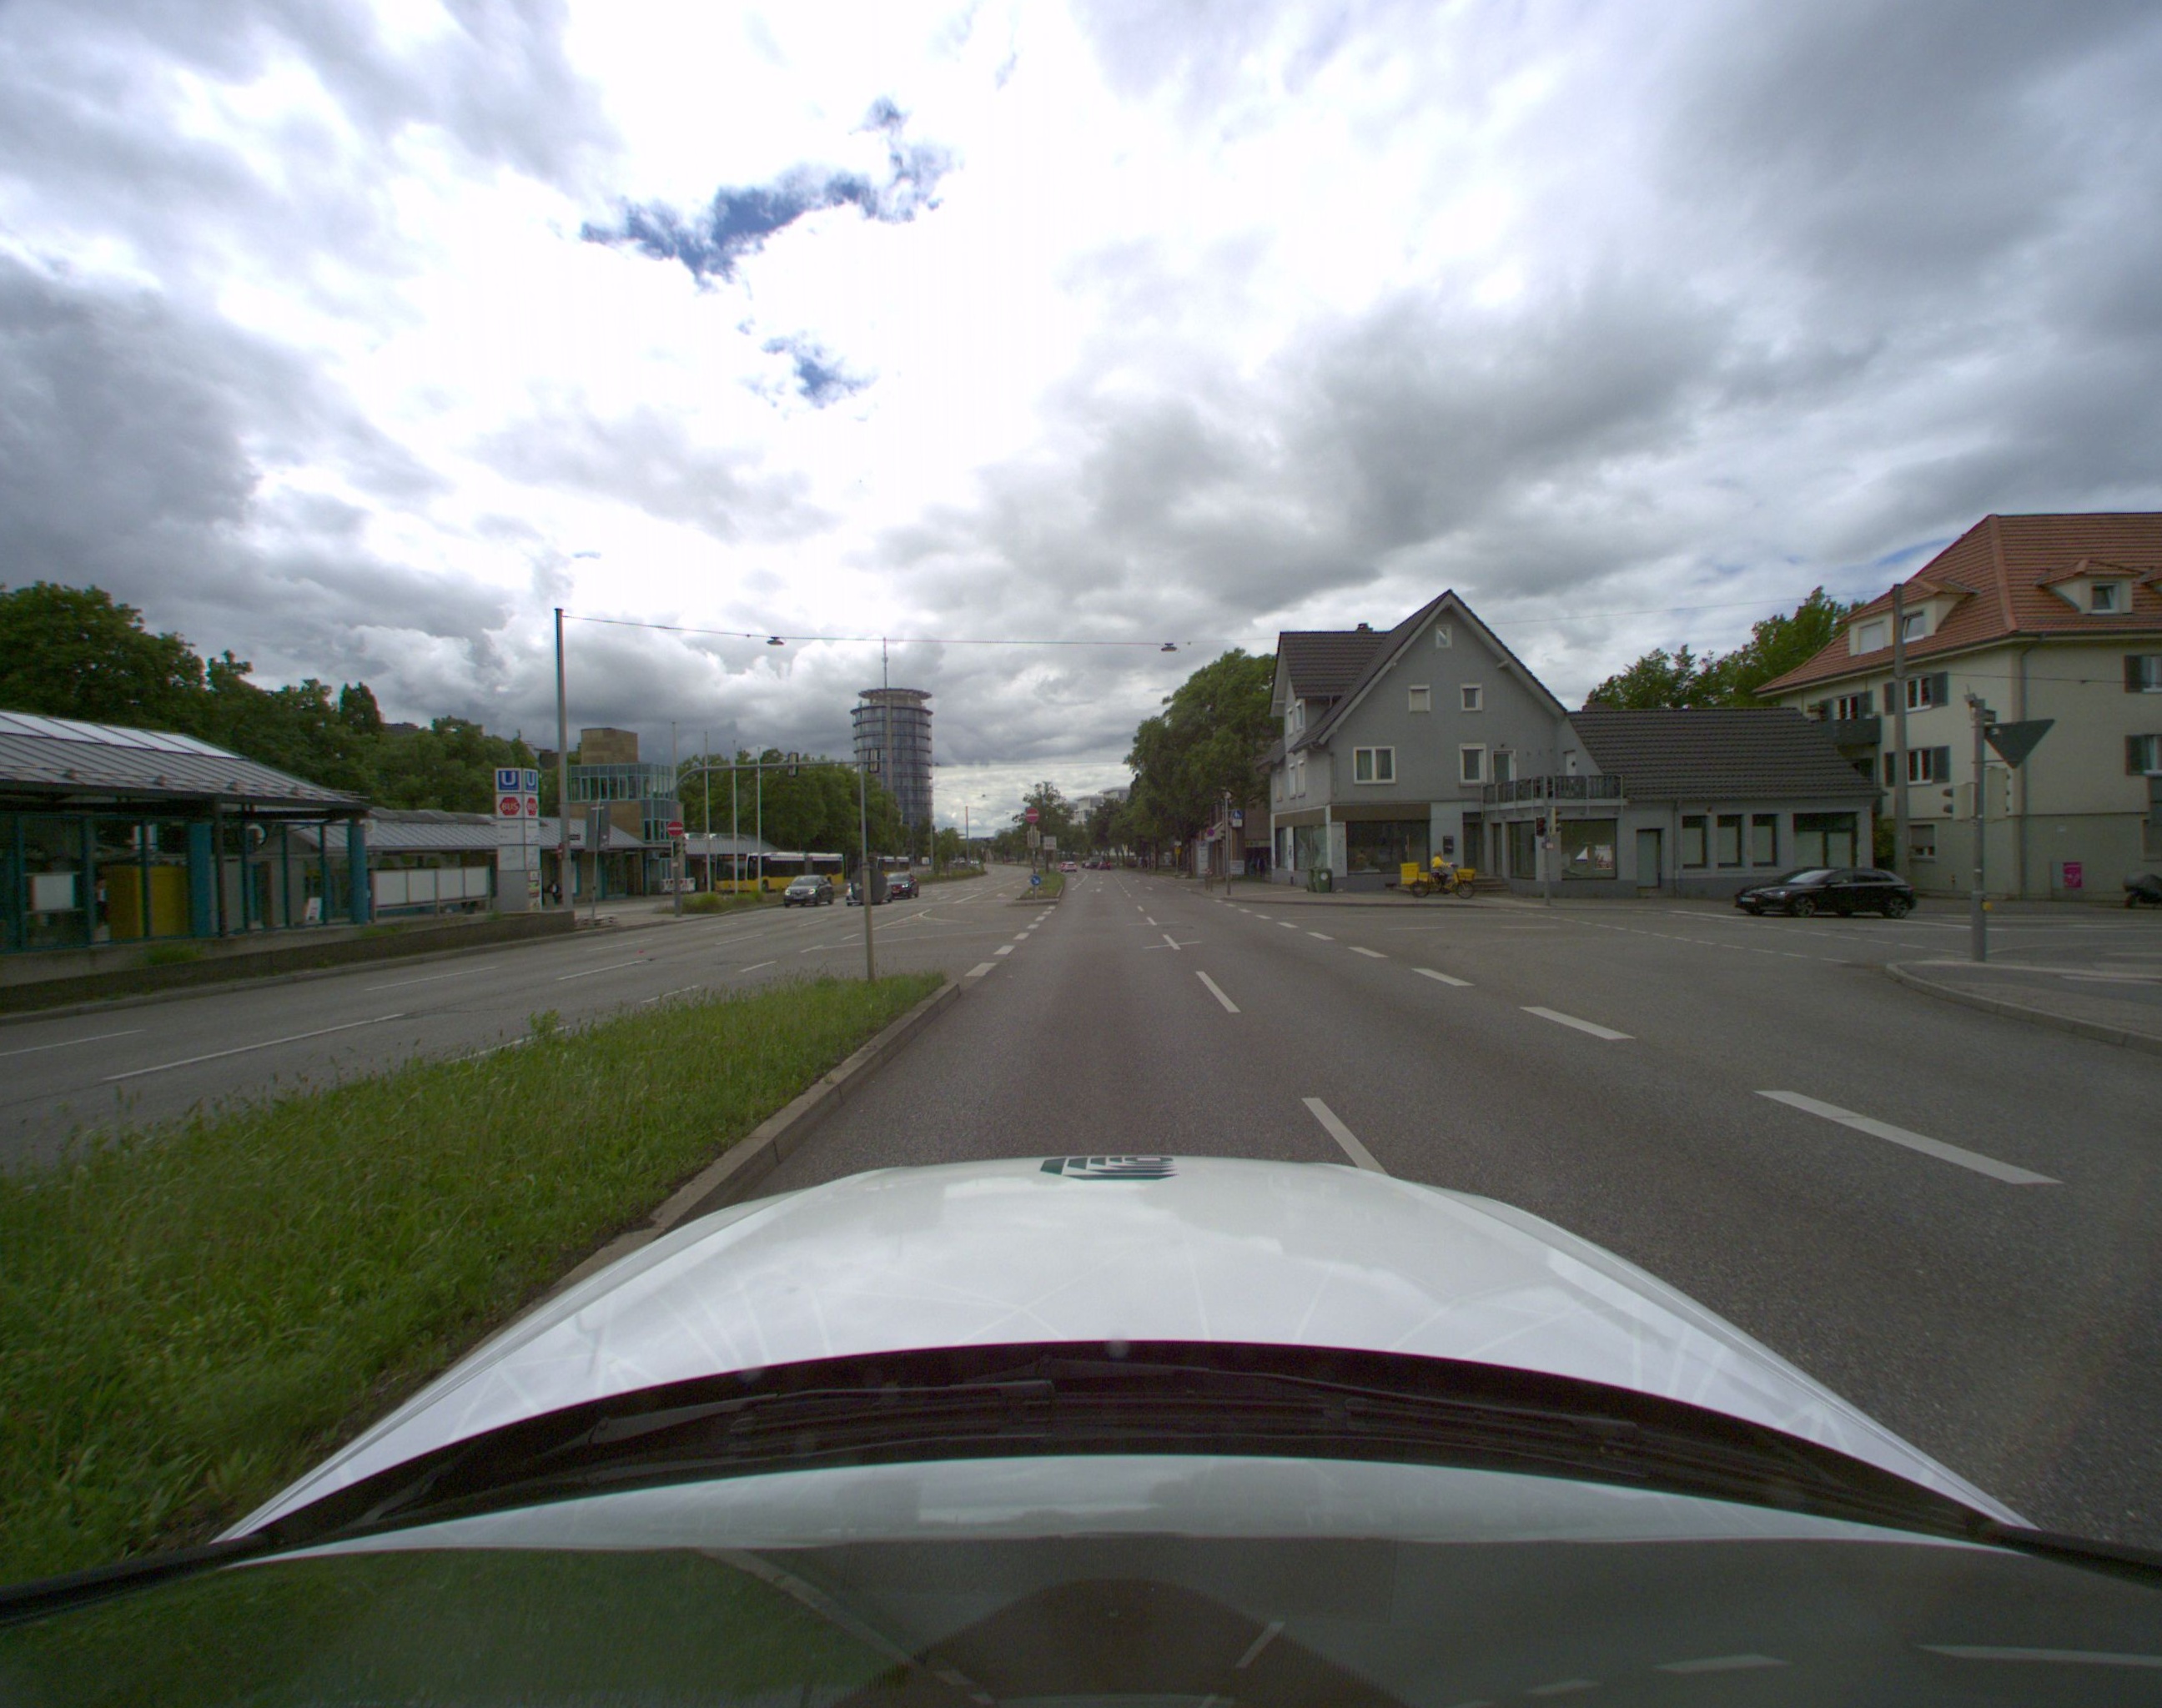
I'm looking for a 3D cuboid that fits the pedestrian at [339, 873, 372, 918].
[{"bbox_3d":[-27.253,1.541,30.593,0.617,1.649,0.658,-2,-1,2],"label":"pedestrian"}]

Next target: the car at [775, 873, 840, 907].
[{"bbox_3d":[-13.704,1.772,41.057,1.808,1.508,4.001,-2,-1,2],"label":"car"}]

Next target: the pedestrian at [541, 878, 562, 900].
[{"bbox_3d":[-27.623,1.815,42.509,0.617,1.121,0.658,-2,-1,2],"label":"pedestrian"}]

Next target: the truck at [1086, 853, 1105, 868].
[{"bbox_3d":[2.569,1.136,146.827,2.853,2.519,6.280,-2,-1,-3],"label":"truck"}]

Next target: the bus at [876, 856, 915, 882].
[{"bbox_3d":[-25.937,2.006,114.583,3.020,3.456,9.912,0,0,1],"label":"bus"}]

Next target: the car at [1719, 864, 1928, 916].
[{"bbox_3d":[21.303,1.005,23.510,4.328,1.422,1.907,0,-1,0],"label":"car"}]

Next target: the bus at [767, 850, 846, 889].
[{"bbox_3d":[-23.632,1.265,70.685,2.795,3.132,9.314,0,0,6],"label":"bus"}]

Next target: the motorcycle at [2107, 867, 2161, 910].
[{"bbox_3d":[34.751,1.112,26.311,2.296,1.316,0.686,0,2,1],"label":"motorcycle"}]

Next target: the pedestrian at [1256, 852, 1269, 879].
[{"bbox_3d":[12.955,0.828,58.052,0.655,1.826,0.843,-3,-1,1],"label":"pedestrian"}]

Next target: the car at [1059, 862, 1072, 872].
[{"bbox_3d":[-2.508,2.133,134.803,1.989,1.672,3.995,-2,-1,-3],"label":"car"}]

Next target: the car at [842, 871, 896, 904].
[{"bbox_3d":[-10.530,1.629,40.642,1.740,1.465,3.787,-1,0,-2],"label":"car"}]

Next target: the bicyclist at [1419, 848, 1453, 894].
[{"bbox_3d":[12.528,0.589,28.729,0.926,1.599,0.969,-1,0,34],"label":"bicyclist"}]

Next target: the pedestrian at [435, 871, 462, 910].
[{"bbox_3d":[-27.521,1.566,35.428,0.617,1.649,0.658,-2,-1,2],"label":"pedestrian"}]

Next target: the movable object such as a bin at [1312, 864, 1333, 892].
[{"bbox_3d":[9.763,0.953,32.924,0.624,1.104,0.710,-1,-1,0],"label":"movable object such as a bin"}]

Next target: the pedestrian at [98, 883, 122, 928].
[{"bbox_3d":[-33.947,1.796,28.473,0.488,1.548,0.379,0,-1,-44],"label":"pedestrian"}]

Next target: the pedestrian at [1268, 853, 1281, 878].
[{"bbox_3d":[13.762,0.825,57.964,0.655,1.691,0.843,-3,-1,1],"label":"pedestrian"}]

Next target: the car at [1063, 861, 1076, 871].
[{"bbox_3d":[-1.766,1.917,127.430,1.859,1.449,3.995,-2,-1,-3],"label":"car"}]

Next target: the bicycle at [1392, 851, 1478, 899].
[{"bbox_3d":[12.477,0.709,28.745,2.651,1.508,0.969,2,3,34],"label":"bicycle"}]

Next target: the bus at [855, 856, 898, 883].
[{"bbox_3d":[-26.010,1.913,104.205,3.075,3.163,10.731,0,0,-1],"label":"bus"}]

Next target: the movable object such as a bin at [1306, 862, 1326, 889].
[{"bbox_3d":[9.740,0.883,33.749,0.606,1.104,0.710,-1,-1,0],"label":"movable object such as a bin"}]

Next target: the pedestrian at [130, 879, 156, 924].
[{"bbox_3d":[-33.016,1.667,28.672,0.533,1.548,0.744,0,-1,-44],"label":"pedestrian"}]

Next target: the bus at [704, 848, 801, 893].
[{"bbox_3d":[-24.468,1.190,61.353,2.763,3.132,9.449,0,0,4],"label":"bus"}]

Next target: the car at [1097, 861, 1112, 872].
[{"bbox_3d":[3.810,2.040,132.229,1.990,1.596,3.994,-2,0,-4],"label":"car"}]

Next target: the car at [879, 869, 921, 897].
[{"bbox_3d":[-10.326,1.636,46.633,1.654,1.508,3.765,-2,-1,-2],"label":"car"}]

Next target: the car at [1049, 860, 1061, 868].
[{"bbox_3d":[-5.166,2.020,162.465,1.986,1.508,4.001,-2,-1,2],"label":"car"}]

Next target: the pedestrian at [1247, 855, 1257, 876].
[{"bbox_3d":[12.554,0.841,59.719,0.559,1.550,0.544,-3,-1,1],"label":"pedestrian"}]

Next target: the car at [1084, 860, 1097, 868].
[{"bbox_3d":[1.845,1.865,154.198,1.991,1.508,3.991,-2,0,-6],"label":"car"}]
